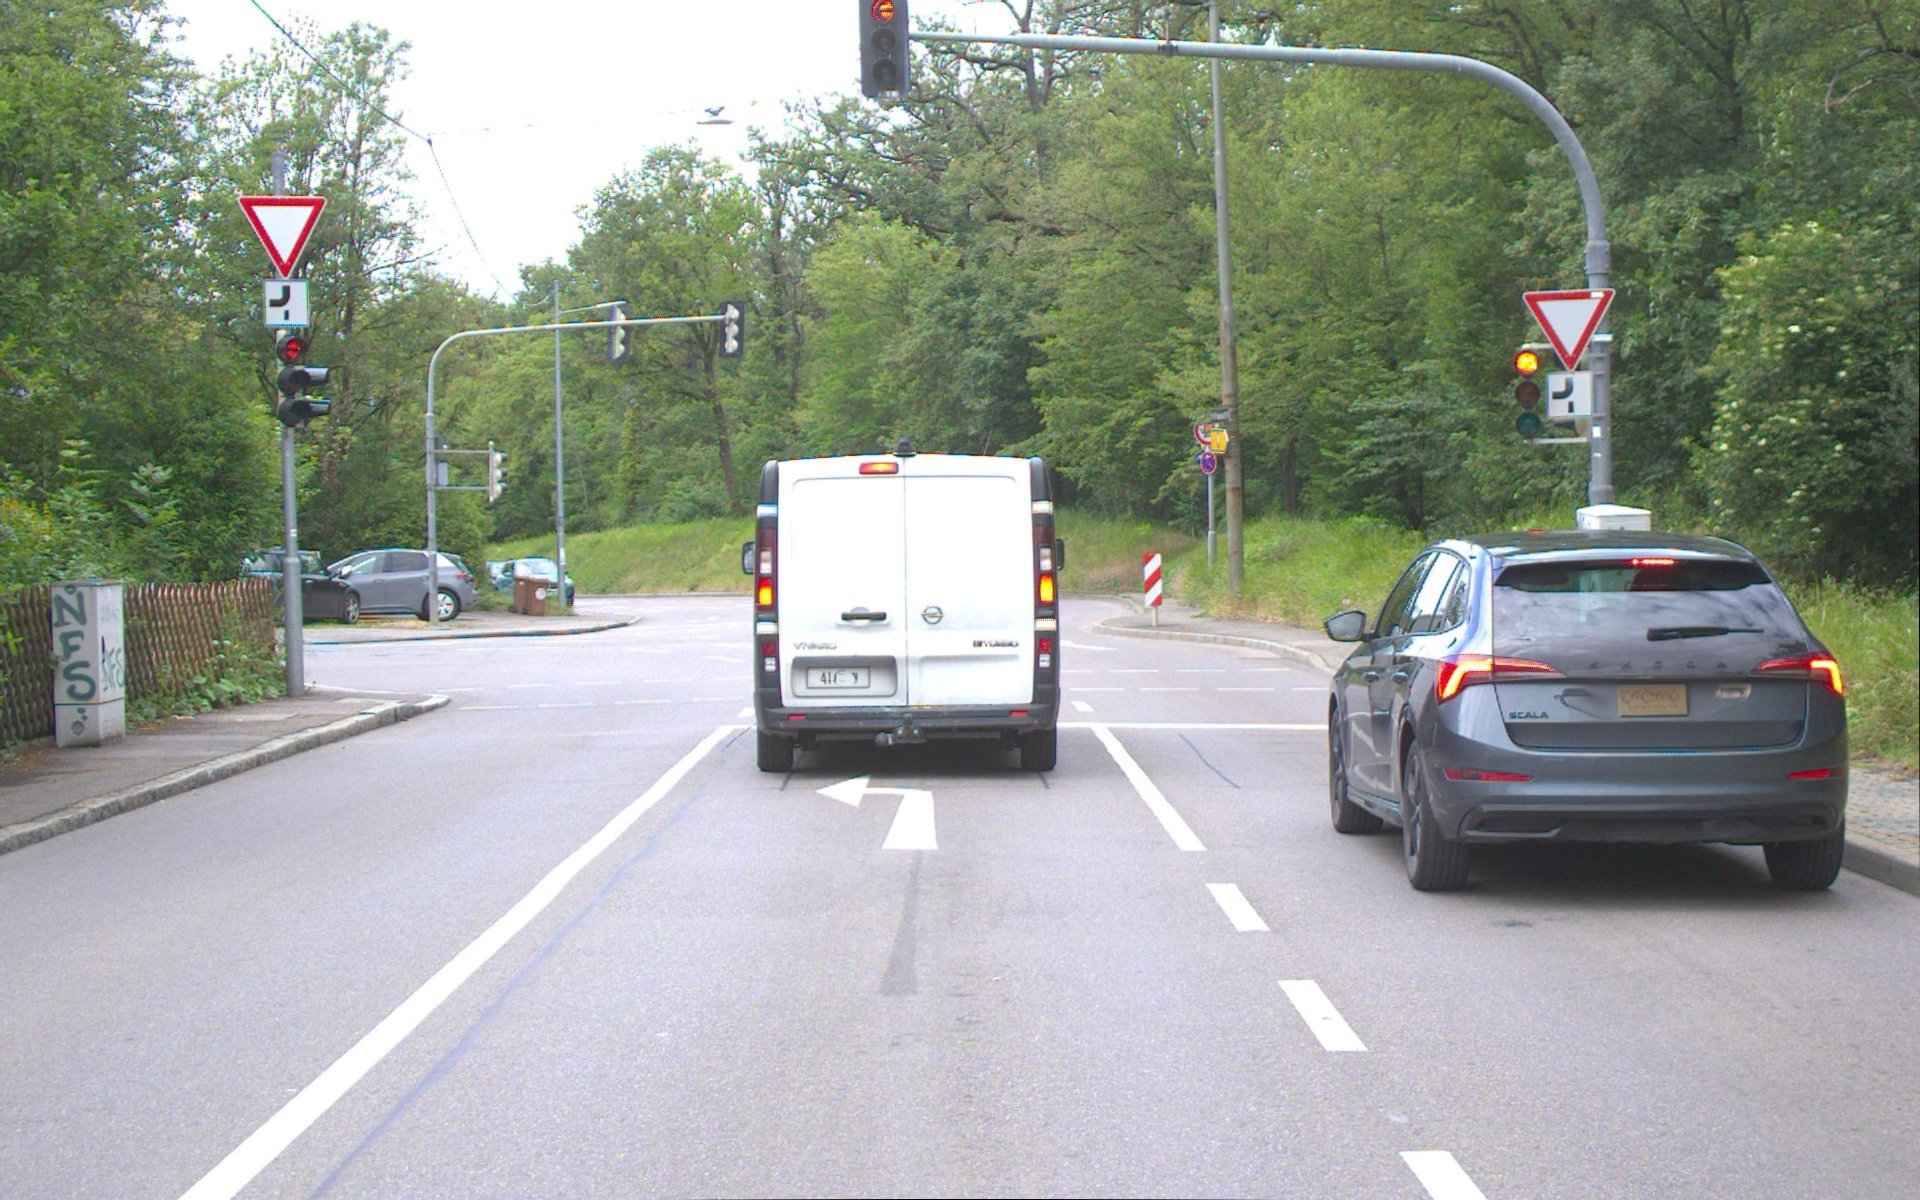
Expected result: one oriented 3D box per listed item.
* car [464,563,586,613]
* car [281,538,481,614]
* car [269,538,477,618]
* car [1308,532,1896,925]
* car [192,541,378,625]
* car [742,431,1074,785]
[{"bbox_3d":[-13.979,-0.387,110.293,1.858,1.501,3.998,-3,2,-43],"label":"car"},{"bbox_3d":[-12.669,-0.543,75.181,4.085,1.548,1.855,-2,2,-17],"label":"car"},{"bbox_3d":[-12.341,-0.471,72.223,4.085,1.548,1.855,-2,2,-17],"label":"car"},{"bbox_3d":[2.642,0.449,15.055,1.792,1.445,4.000,-1,1,0],"label":"car"},{"bbox_3d":[-12.162,-0.329,62.129,1.699,1.444,3.540,2,1,20],"label":"car"},{"bbox_3d":[-0.400,-0.006,22.539,1.916,2.046,4.615,-1,1,-2],"label":"car"}]
